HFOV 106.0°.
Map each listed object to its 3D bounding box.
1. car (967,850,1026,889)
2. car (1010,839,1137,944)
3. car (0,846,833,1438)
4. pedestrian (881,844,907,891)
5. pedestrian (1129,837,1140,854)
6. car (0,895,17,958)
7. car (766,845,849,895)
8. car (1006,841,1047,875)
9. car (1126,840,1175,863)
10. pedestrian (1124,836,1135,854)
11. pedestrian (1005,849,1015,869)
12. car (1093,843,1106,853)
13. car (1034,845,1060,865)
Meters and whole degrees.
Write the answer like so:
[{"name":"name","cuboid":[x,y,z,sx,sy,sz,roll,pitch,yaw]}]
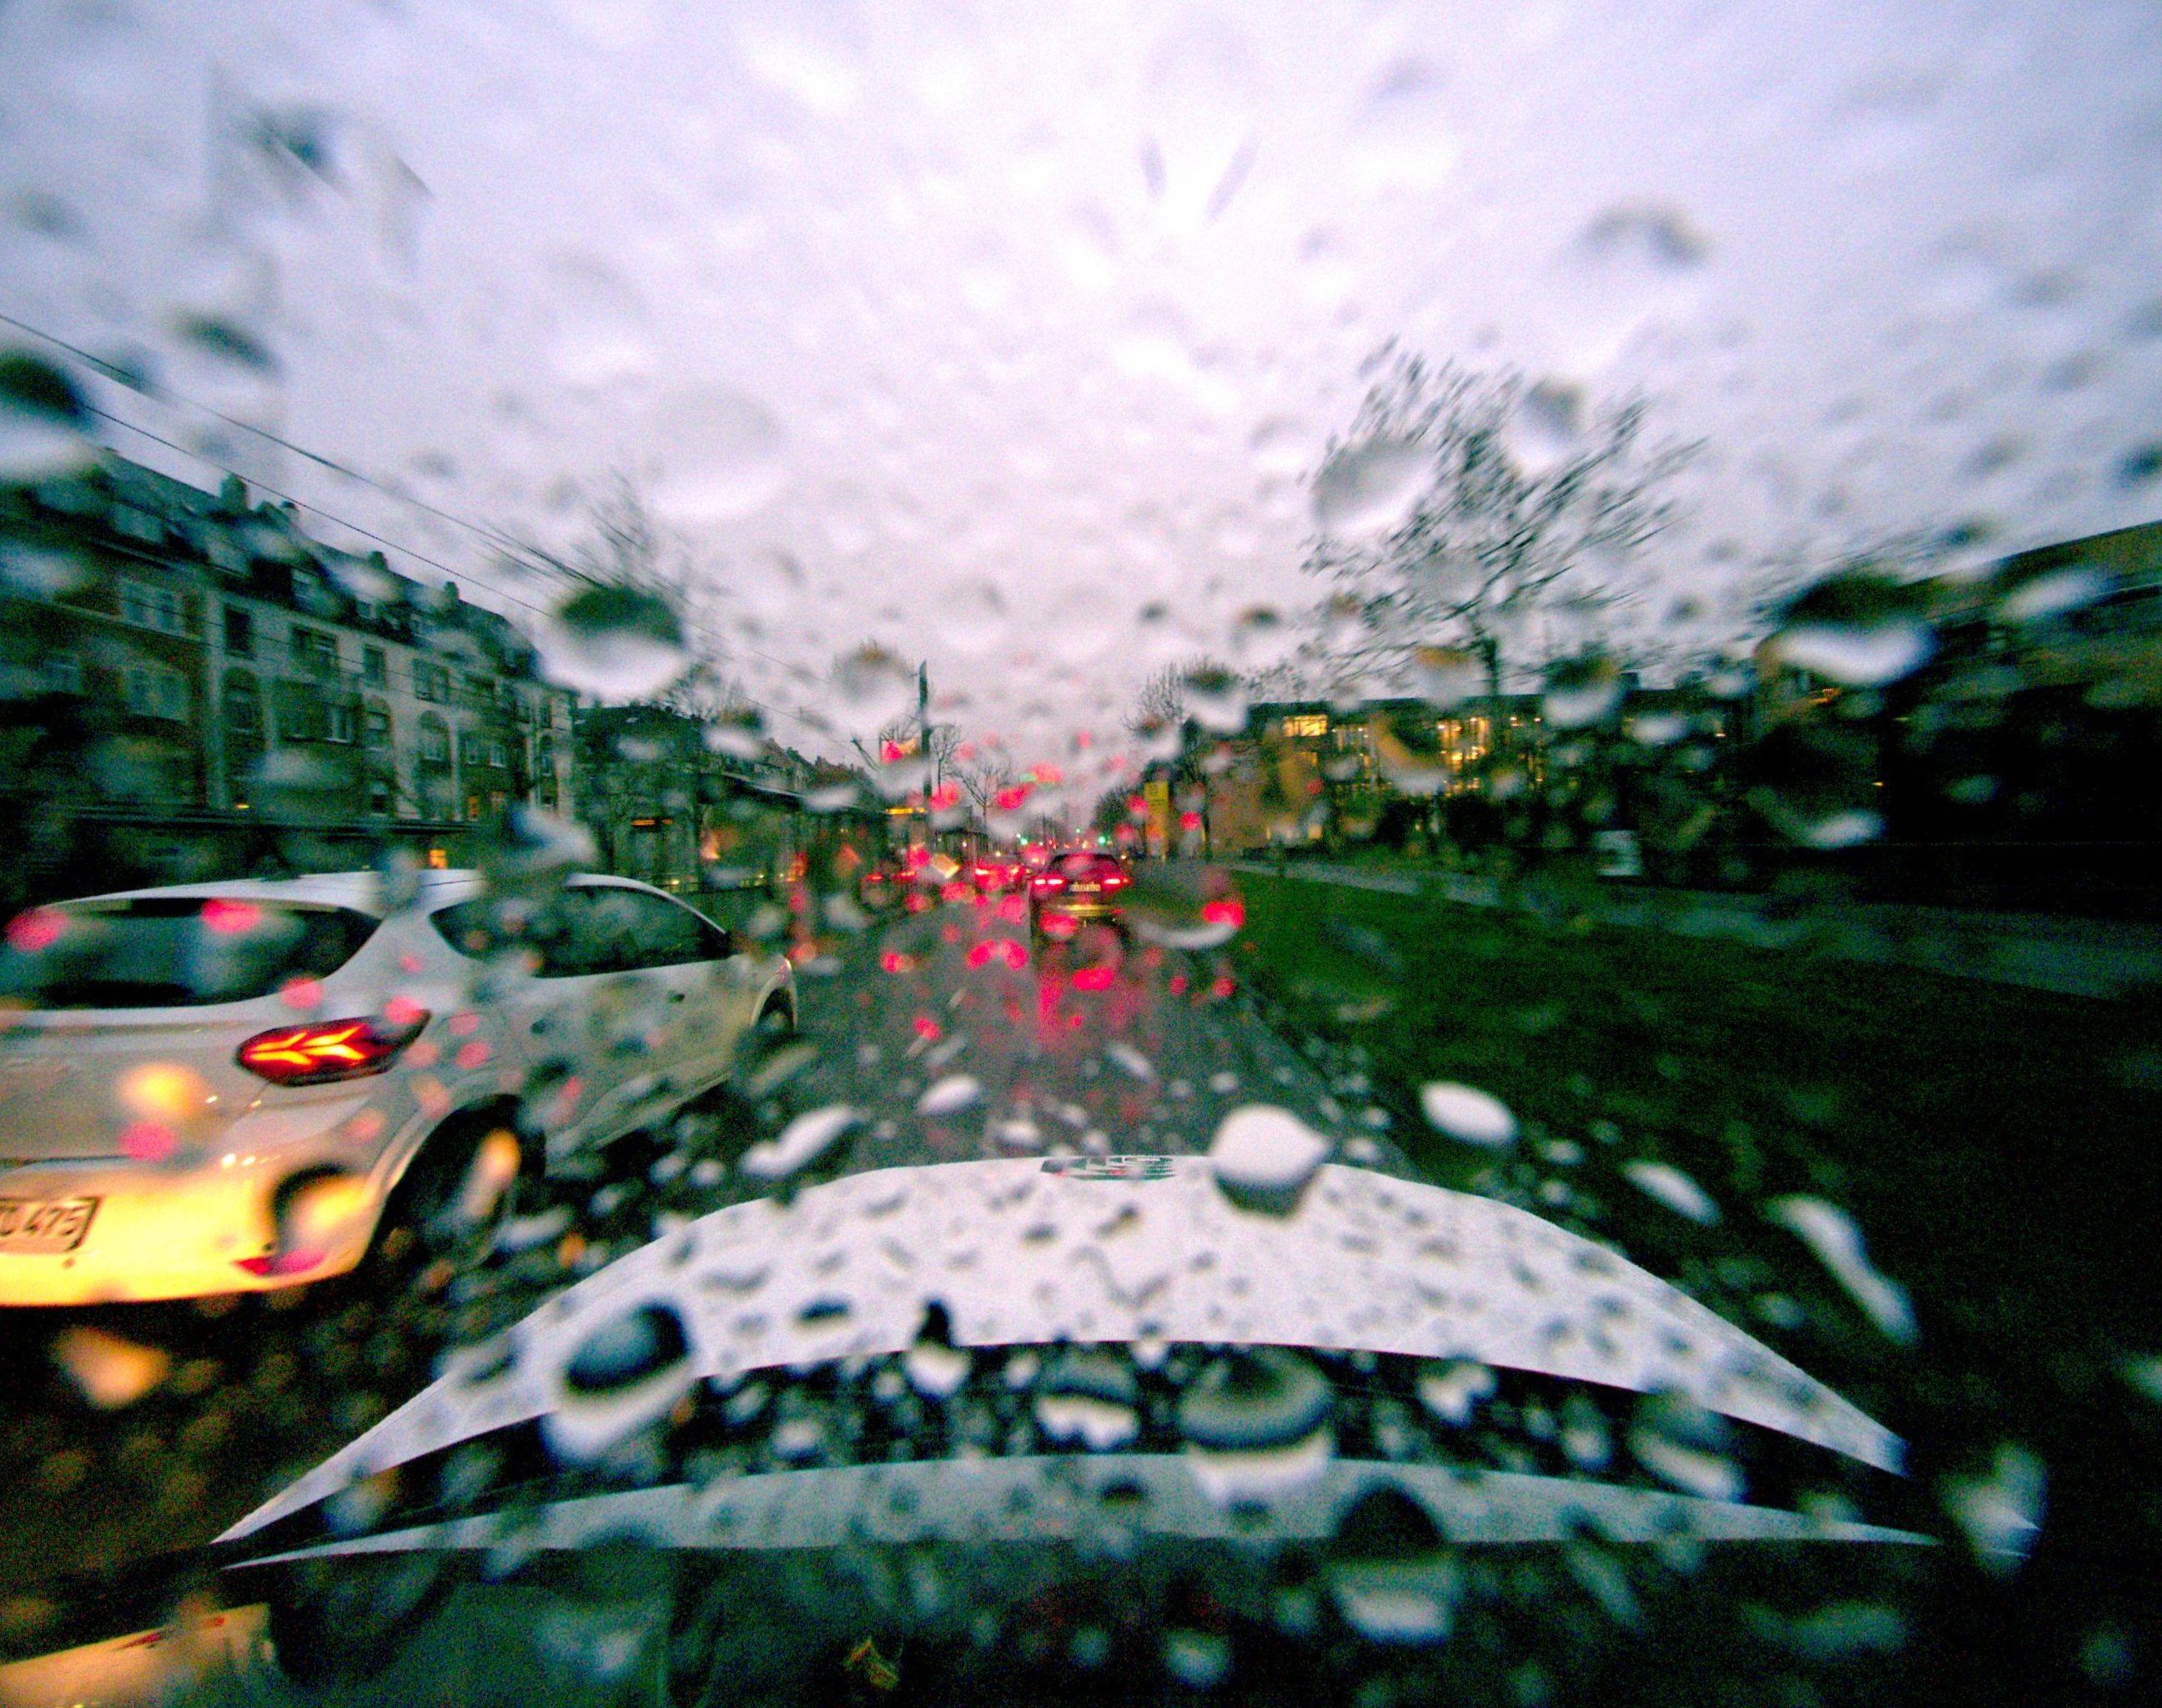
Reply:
[{"name":"car","cuboid":[-3.356,0.578,33.008,1.988,1.398,3.998,-3,1,-2]},{"name":"car","cuboid":[-0.118,0.585,15.241,1.984,1.616,4.000,-3,1,0]},{"name":"car","cuboid":[-2.833,0.768,4.151,1.619,1.487,4.004,-3,1,4]},{"name":"pedestrian","cuboid":[-6.517,0.468,28.372,0.708,1.606,0.746,-1,0,-2]},{"name":"pedestrian","cuboid":[5.282,-0.857,80.223,0.892,1.596,0.505,-3,0,41]},{"name":"car","cuboid":[-25.215,1.707,16.623,1.655,1.396,4.000,-3,1,0]},{"name":"car","cuboid":[-11.117,0.612,33.423,1.987,1.823,3.999,-3,0,-1]},{"name":"car","cuboid":[-3.036,0.191,46.181,1.987,1.765,3.999,-3,1,-1]},{"name":"car","cuboid":[5.824,-0.237,68.630,3.847,1.560,1.766,-5,1,1]},{"name":"pedestrian","cuboid":[4.645,-0.859,78.252,0.892,1.596,0.505,-3,0,41]},{"name":"pedestrian","cuboid":[-5.725,0.421,65.839,0.696,1.552,0.668,-3,0,-1]},{"name":"car","cuboid":[3.121,-1.004,138.233,1.987,1.598,3.999,-3,0,-1]},{"name":"car","cuboid":[-2.872,0.057,69.001,1.988,1.618,3.999,-3,1,-1]}]
